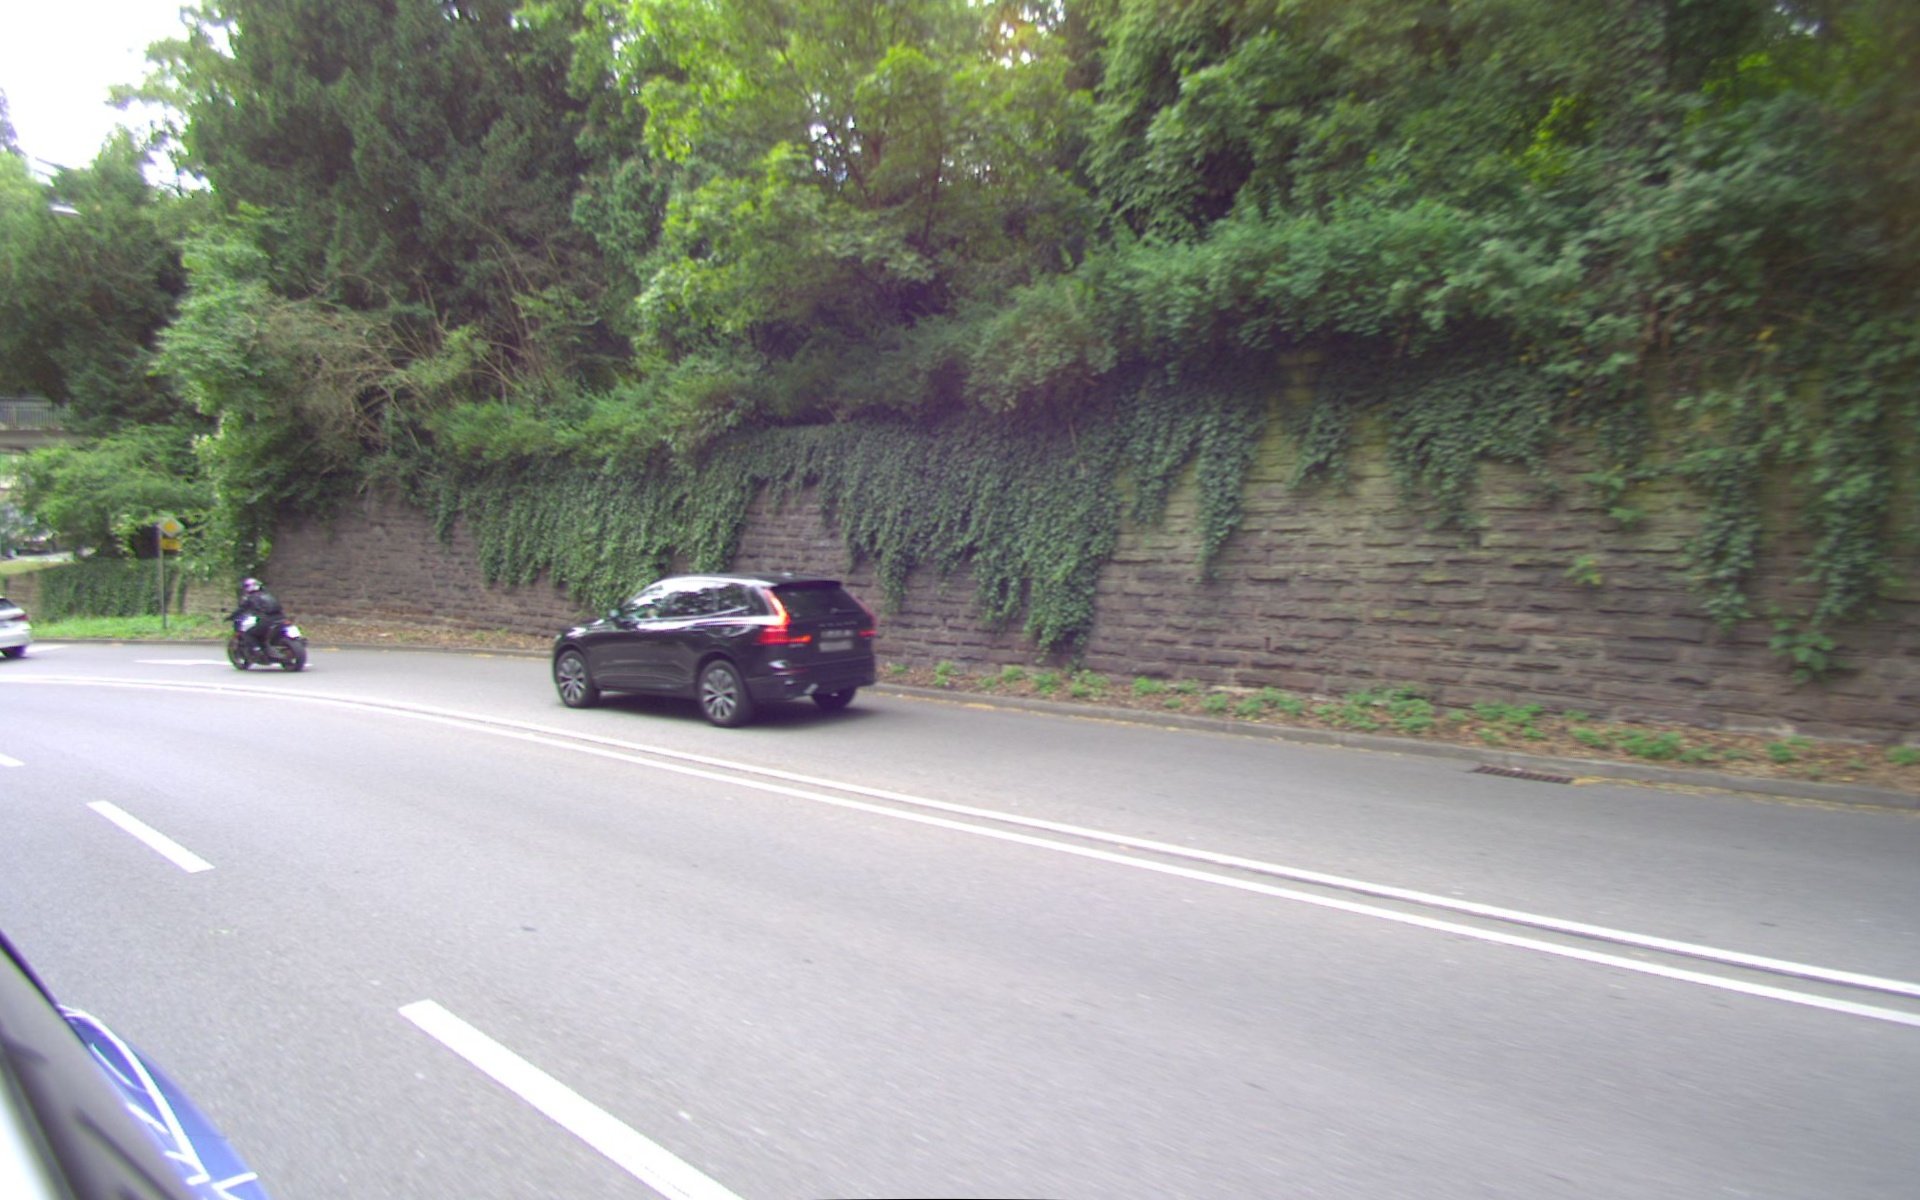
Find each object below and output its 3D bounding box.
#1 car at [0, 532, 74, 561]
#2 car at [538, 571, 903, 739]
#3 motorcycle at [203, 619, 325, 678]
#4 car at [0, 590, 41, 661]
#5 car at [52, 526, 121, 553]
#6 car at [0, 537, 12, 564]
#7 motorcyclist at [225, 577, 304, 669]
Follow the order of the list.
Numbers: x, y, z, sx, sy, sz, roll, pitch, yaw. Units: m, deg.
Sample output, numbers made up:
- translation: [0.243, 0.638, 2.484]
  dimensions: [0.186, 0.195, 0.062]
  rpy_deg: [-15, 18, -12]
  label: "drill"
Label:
- translation: [-51.829, -3.018, 56.752]
  dimensions: [1.575, 1.338, 3.925]
  rpy_deg: [1, 7, -14]
  label: "car"
- translation: [-2.986, 0.525, 12.140]
  dimensions: [4.504, 1.661, 1.832]
  rpy_deg: [0, 1, 38]
  label: "car"
- translation: [-12.133, 0.814, 17.619]
  dimensions: [2.420, 0.896, 0.803]
  rpy_deg: [1, 1, 31]
  label: "motorcycle"
- translation: [-21.787, 0.572, 21.082]
  dimensions: [4.286, 1.426, 1.745]
  rpy_deg: [-1, 3, 14]
  label: "car"
- translation: [-52.877, -3.699, 61.351]
  dimensions: [1.575, 1.338, 3.925]
  rpy_deg: [1, 7, -14]
  label: "car"
- translation: [-50.814, -2.468, 51.822]
  dimensions: [1.575, 1.338, 3.925]
  rpy_deg: [1, 7, -14]
  label: "car"
- translation: [-12.075, 0.370, 17.564]
  dimensions: [1.091, 1.541, 0.741]
  rpy_deg: [1, 1, 30]
  label: "motorcyclist"
